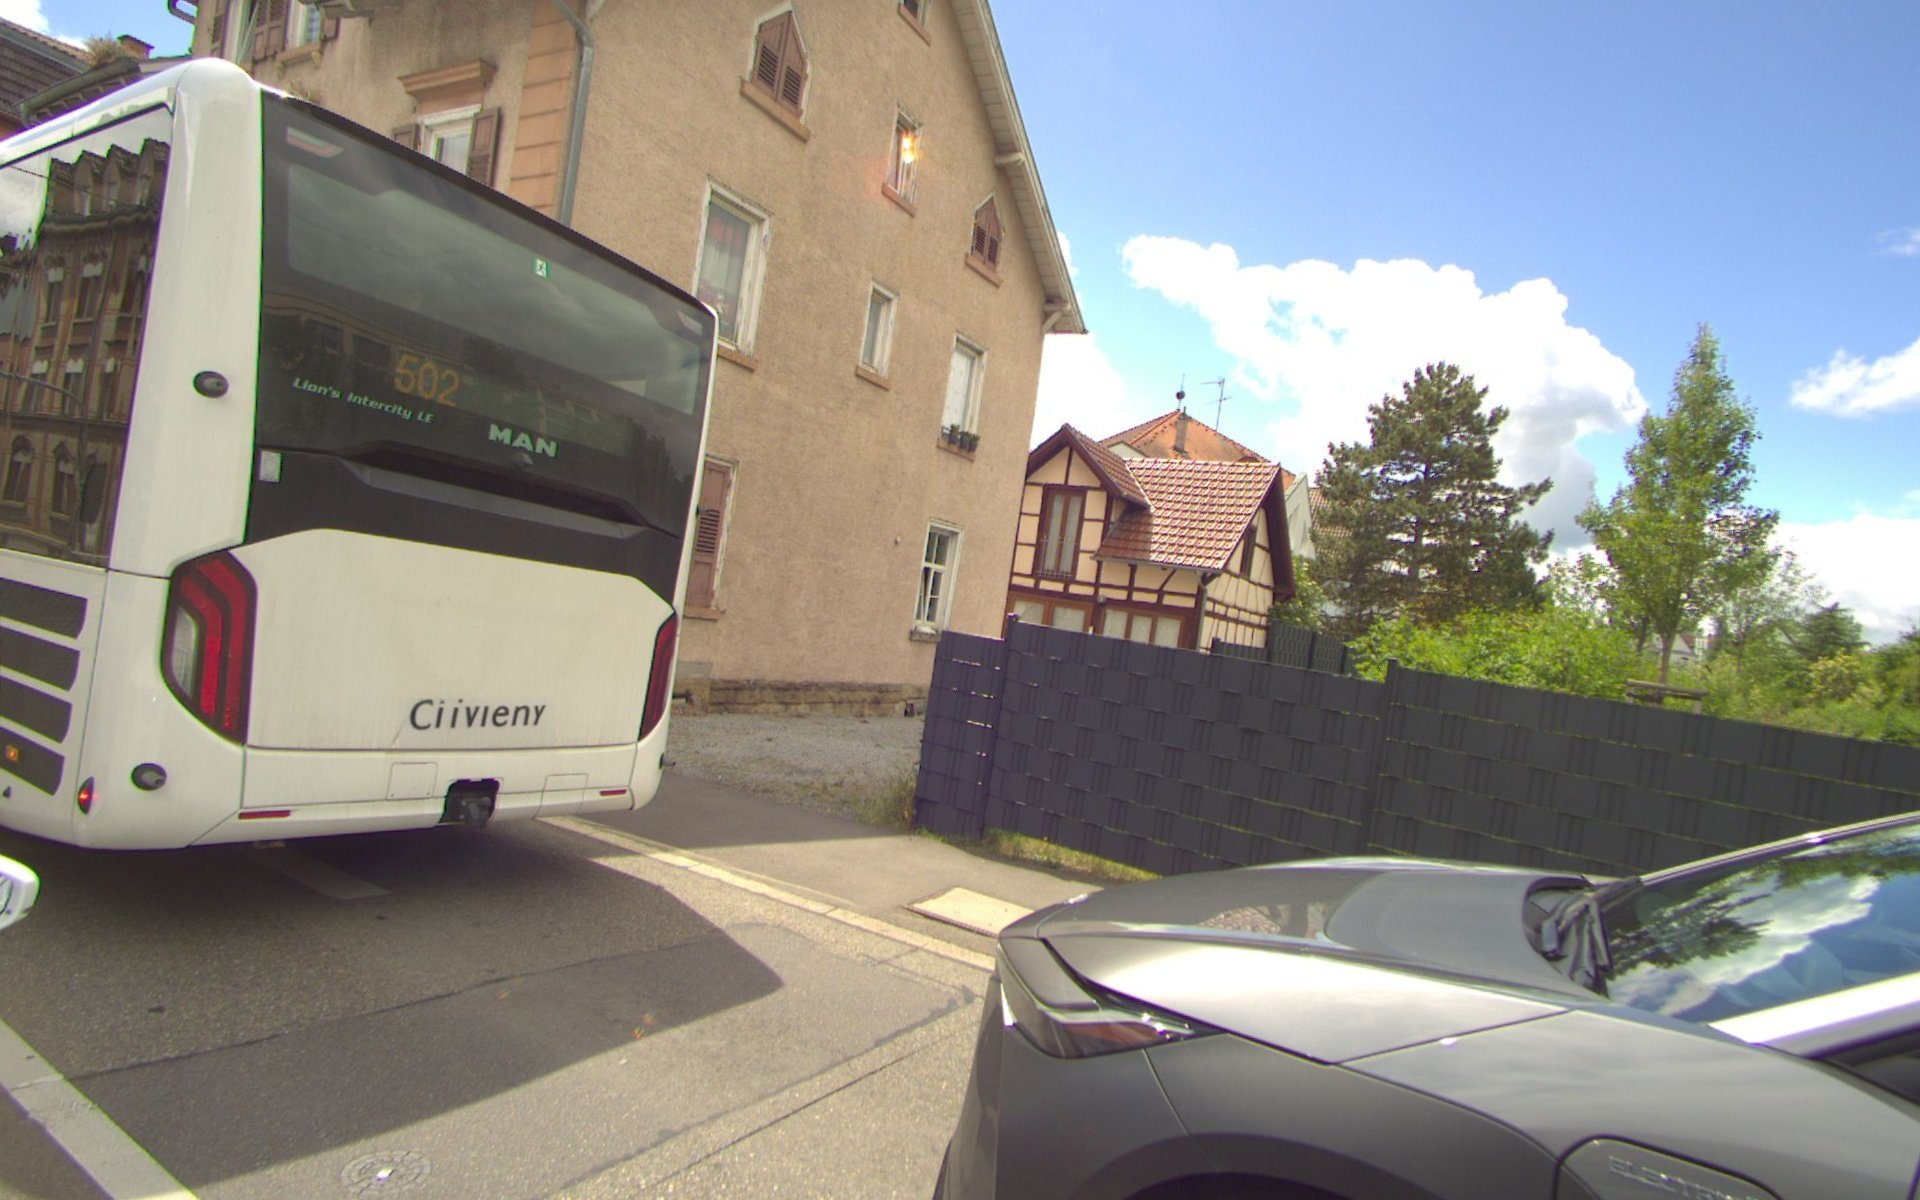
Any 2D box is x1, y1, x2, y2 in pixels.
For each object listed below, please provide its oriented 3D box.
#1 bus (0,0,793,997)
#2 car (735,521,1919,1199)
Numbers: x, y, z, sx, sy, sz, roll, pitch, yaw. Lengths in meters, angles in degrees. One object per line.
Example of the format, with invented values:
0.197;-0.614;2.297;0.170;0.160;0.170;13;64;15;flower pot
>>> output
-7.059;-0.938;7.529;12.281;3.551;2.910;6;-2;32;bus
2.048;0.963;1.557;4.504;1.648;1.997;6;-1;31;car
